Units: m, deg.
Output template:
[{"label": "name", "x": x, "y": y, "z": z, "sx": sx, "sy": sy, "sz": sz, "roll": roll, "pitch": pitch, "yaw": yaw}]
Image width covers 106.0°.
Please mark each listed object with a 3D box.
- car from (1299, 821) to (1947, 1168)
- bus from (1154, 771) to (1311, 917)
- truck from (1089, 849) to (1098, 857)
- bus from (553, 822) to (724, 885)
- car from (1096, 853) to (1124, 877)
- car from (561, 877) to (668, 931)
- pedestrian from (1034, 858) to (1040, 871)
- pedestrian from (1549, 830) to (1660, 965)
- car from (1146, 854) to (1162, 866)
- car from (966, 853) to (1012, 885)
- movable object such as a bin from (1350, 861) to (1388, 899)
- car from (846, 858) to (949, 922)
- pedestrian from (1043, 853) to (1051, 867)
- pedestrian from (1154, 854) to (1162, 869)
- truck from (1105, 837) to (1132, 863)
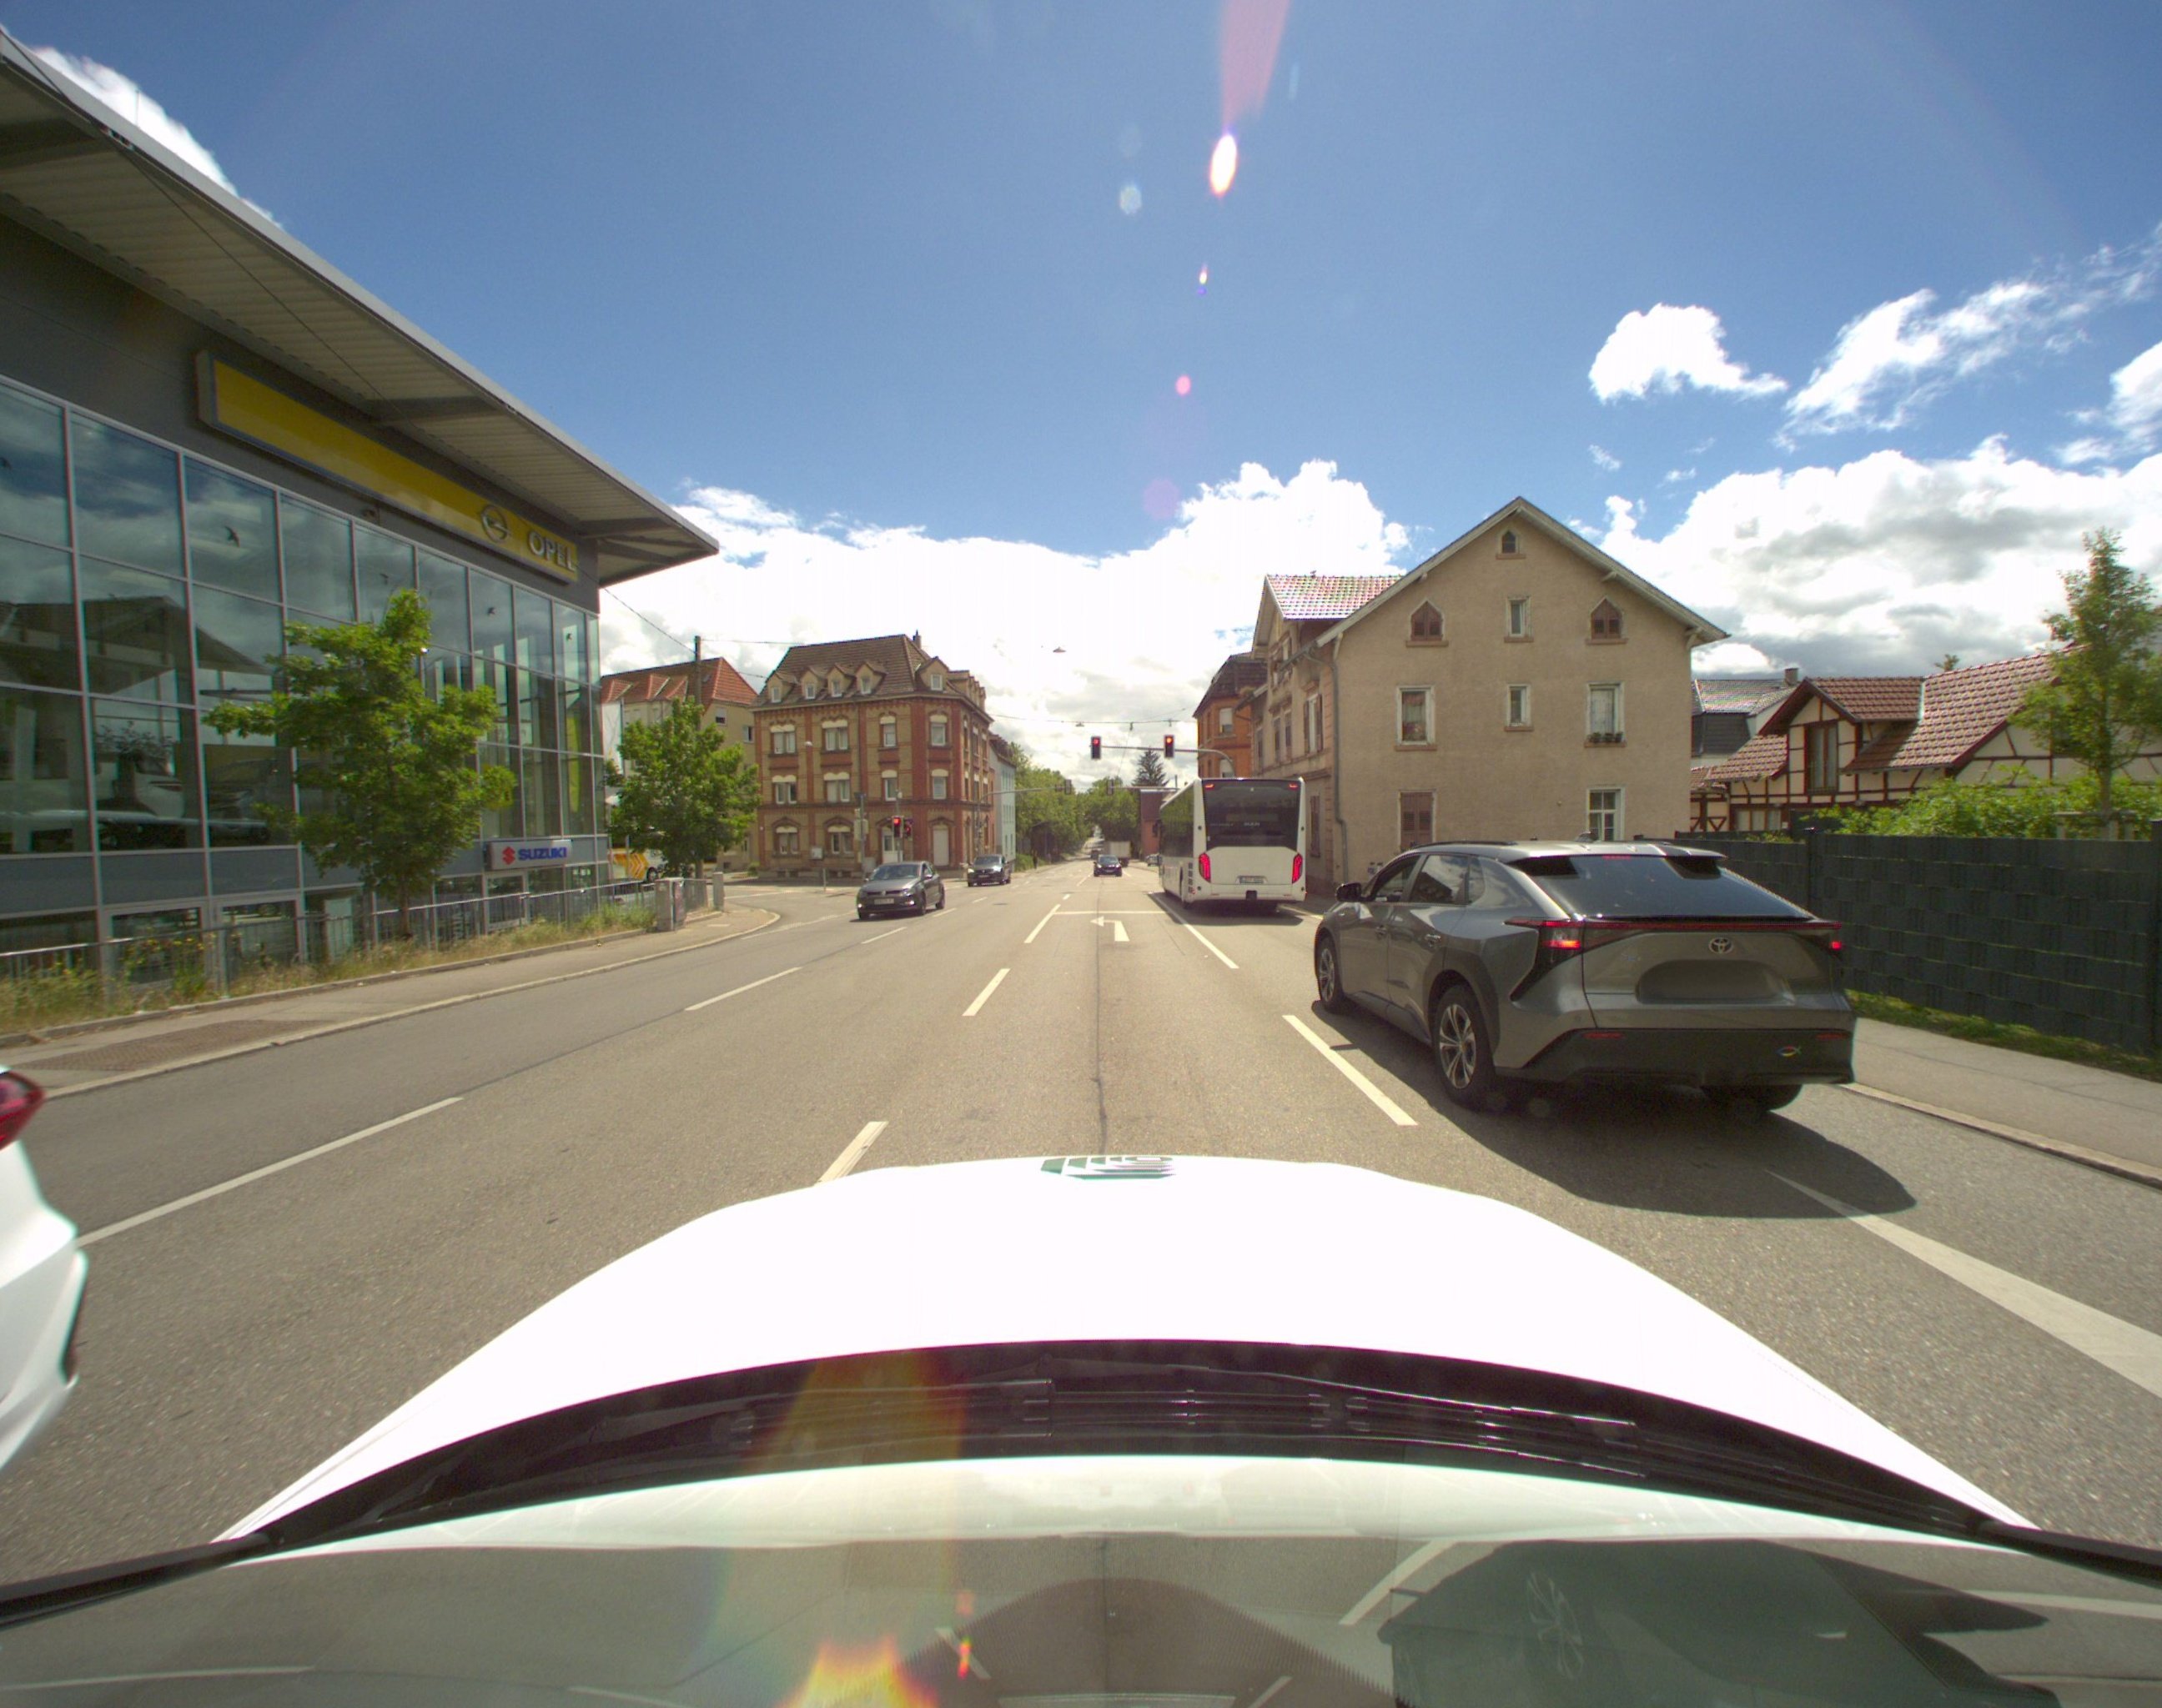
[{"label": "car", "x": 3.163, "y": 0.638, "z": 6.163, "sx": 1.912, "sy": 1.613, "sz": 4.685, "roll": 0, "pitch": 0, "yaw": 2}, {"label": "bus", "x": 3.915, "y": -0.257, "z": 24.296, "sx": 2.662, "sy": 3.155, "sz": 12.467, "roll": -2, "pitch": 0, "yaw": 2}, {"label": "truck", "x": 2.907, "y": -0.203, "z": 190.116, "sx": 1.986, "sy": 2.014, "sz": 4.001, "roll": 0, "pitch": 0, "yaw": 2}, {"label": "bus", "x": -27.651, "y": -0.068, "z": 50.592, "sx": 12.111, "sy": 3.621, "sz": 2.788, "roll": 1, "pitch": 0, "yaw": 26}, {"label": "car", "x": 1.910, "y": 0.709, "z": 54.443, "sx": 1.752, "sy": 1.516, "sz": 3.795, "roll": -2, "pitch": 0, "yaw": 2}, {"label": "car", "x": -15.537, "y": 1.599, "z": 27.108, "sx": 3.321, "sy": 1.560, "sz": 1.692, "roll": 0, "pitch": 2, "yaw": 32}, {"label": "pedestrian", "x": -5.140, "y": 1.210, "z": 95.167, "sx": 0.727, "sy": 1.565, "sz": 0.561, "roll": -1, "pitch": 0, "yaw": 0}, {"label": "pedestrian", "x": 6.368, "y": 0.514, "z": 9.949, "sx": 0.856, "sy": 1.562, "sz": 0.712, "roll": -2, "pitch": -1, "yaw": 1}, {"label": "car", "x": 9.668, "y": 0.817, "z": 108.261, "sx": 1.788, "sy": 1.409, "sz": 4.000, "roll": -2, "pitch": 0, "yaw": 1}, {"label": "car", "x": -4.678, "y": 0.738, "z": 41.894, "sx": 1.752, "sy": 1.522, "sz": 3.959, "roll": -2, "pitch": 0, "yaw": 2}, {"label": "movable object such as a bin", "x": 8.097, "y": 0.718, "z": 22.928, "sx": 0.773, "sy": 1.012, "sz": 0.749, "roll": -2, "pitch": 0, "yaw": 2}, {"label": "car", "x": -4.817, "y": 0.894, "z": 21.918, "sx": 1.752, "sy": 1.413, "sz": 3.735, "roll": -4, "pitch": 0, "yaw": 2}, {"label": "pedestrian", "x": -5.065, "y": 0.882, "z": 121.315, "sx": 0.991, "sy": 2.013, "sz": 1.189, "roll": -2, "pitch": 0, "yaw": 1}, {"label": "pedestrian", "x": 8.870, "y": 0.878, "z": 93.801, "sx": 0.736, "sy": 1.750, "sz": 0.619, "roll": -2, "pitch": 0, "yaw": 1}, {"label": "truck", "x": 4.692, "y": -0.533, "z": 103.315, "sx": 2.917, "sy": 3.081, "sz": 7.883, "roll": -2, "pitch": 0, "yaw": 0}]
